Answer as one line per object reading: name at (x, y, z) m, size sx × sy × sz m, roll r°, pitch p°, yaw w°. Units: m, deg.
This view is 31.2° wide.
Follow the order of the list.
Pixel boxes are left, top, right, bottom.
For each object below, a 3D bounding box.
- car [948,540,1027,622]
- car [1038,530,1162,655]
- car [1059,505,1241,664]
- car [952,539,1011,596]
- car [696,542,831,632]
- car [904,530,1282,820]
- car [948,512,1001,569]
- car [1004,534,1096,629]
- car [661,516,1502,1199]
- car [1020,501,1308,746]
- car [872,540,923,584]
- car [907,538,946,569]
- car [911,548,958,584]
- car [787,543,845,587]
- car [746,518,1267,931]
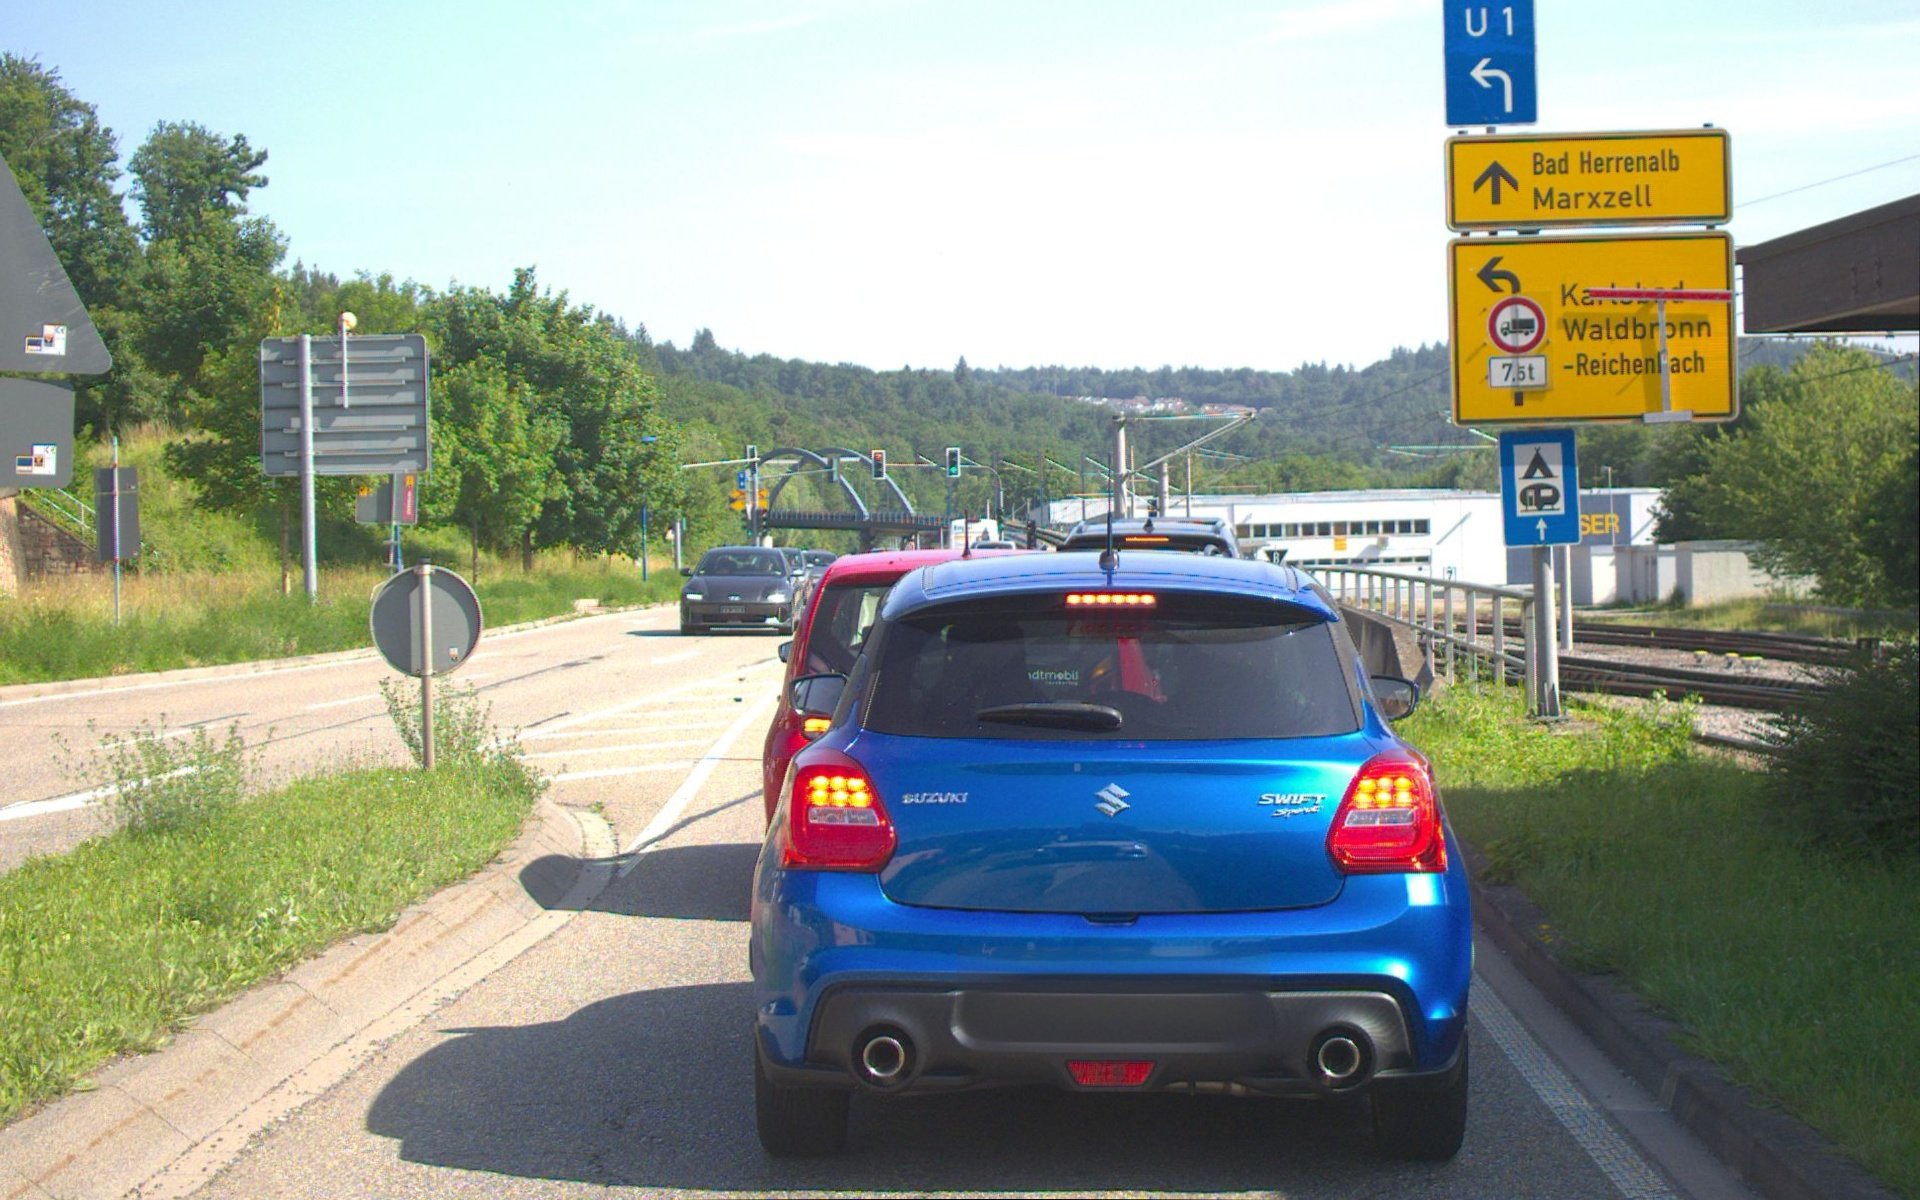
car at (0.735, -0.525, 90.904) m, size 1.993 × 2.006 × 4.000 m, roll 2°, pitch 2°, yaw 0°
car at (2.440, -0.167, 60.812) m, size 1.993 × 2.006 × 4.000 m, roll 2°, pitch 2°, yaw 0°
car at (2.203, -0.221, 40.598) m, size 1.994 × 1.730 × 4.000 m, roll 2°, pitch 1°, yaw 2°
car at (0.756, -1.143, 119.908) m, size 1.993 × 1.810 × 4.000 m, roll 2°, pitch 2°, yaw 0°
car at (-3.329, -0.256, 59.048) m, size 1.791 × 1.465 × 4.716 m, roll 0°, pitch 1°, yaw 3°
car at (0.791, 0.354, 20.602) m, size 1.993 × 1.526 × 4.601 m, roll -1°, pitch 1°, yaw 2°
car at (0.577, -2.318, 134.396) m, size 1.993 × 2.137 × 4.720 m, roll 1°, pitch 1°, yaw 0°
car at (2.059, -0.455, 79.459) m, size 1.993 × 2.006 × 4.000 m, roll 2°, pitch 2°, yaw 0°
car at (0.263, 0.549, 9.674) m, size 1.868 × 1.543 × 4.000 m, roll 0°, pitch 1°, yaw 0°
car at (1.526, 0.116, 26.672) m, size 1.994 × 1.681 × 4.497 m, roll 2°, pitch 1°, yaw 2°
car at (-2.585, -1.587, 142.841) m, size 1.993 × 1.777 × 4.000 m, roll 1°, pitch 1°, yaw 0°
car at (-1.752, -2.466, 181.179) m, size 1.993 × 1.585 × 4.000 m, roll 1°, pitch 1°, yaw 0°
car at (-1.140, -1.533, 153.549) m, size 1.993 × 1.549 × 4.215 m, roll 1°, pitch 1°, yaw 0°
car at (-4.834, -1.189, 115.933) m, size 1.672 × 1.436 × 3.840 m, roll 0°, pitch 1°, yaw 2°
car at (0.250, 0.455, 15.344) m, size 1.993 × 1.566 × 4.000 m, roll 1°, pitch 1°, yaw 2°
